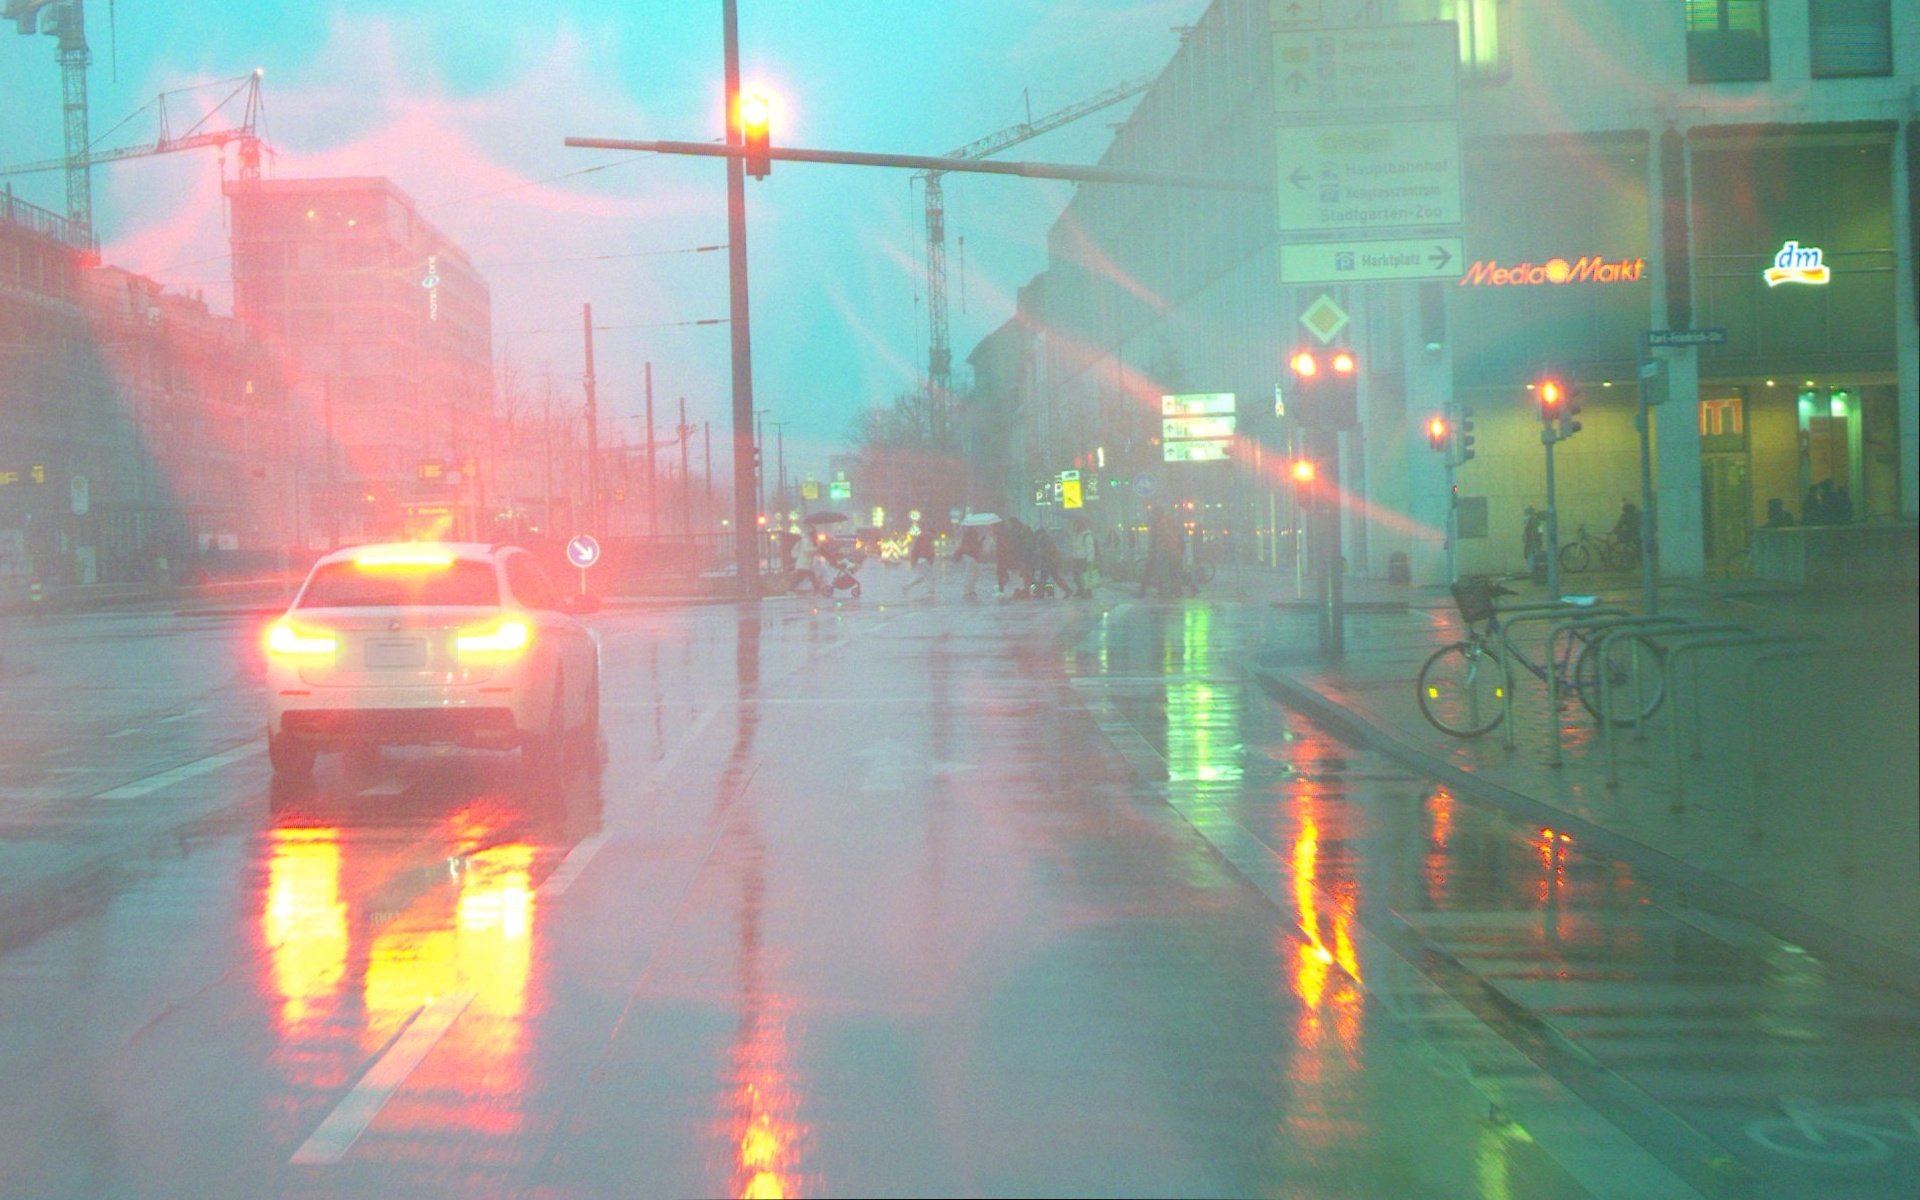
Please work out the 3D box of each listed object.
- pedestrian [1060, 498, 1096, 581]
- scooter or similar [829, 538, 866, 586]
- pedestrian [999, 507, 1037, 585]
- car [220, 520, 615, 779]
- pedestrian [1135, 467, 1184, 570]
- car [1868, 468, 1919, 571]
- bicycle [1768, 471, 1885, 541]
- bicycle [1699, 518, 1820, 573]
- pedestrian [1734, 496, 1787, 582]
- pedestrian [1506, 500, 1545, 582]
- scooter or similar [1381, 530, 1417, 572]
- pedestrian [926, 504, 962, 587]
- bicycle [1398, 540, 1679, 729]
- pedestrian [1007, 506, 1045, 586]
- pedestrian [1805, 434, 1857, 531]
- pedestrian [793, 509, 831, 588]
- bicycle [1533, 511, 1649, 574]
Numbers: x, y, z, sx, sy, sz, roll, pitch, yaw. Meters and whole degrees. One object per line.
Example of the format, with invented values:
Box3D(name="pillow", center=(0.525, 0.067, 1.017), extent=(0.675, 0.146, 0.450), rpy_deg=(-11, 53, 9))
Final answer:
Box3D(name="pedestrian", center=(2.514, -1.294, 73.231), extent=(0.619, 1.740, 0.613), rpy_deg=(-2, 1, -4))
Box3D(name="scooter or similar", center=(-2.424, -0.824, 73.966), extent=(0.741, 0.990, 0.400), rpy_deg=(-2, 1, -4))
Box3D(name="pedestrian", center=(1.220, -1.138, 72.253), extent=(0.706, 1.613, 0.680), rpy_deg=(-2, 1, 2))
Box3D(name="car", center=(-3.570, 0.247, 23.530), extent=(1.909, 1.515, 4.924), rpy_deg=(-2, 1, 0))
Box3D(name="pedestrian", center=(4.107, -1.681, 70.822), extent=(0.686, 2.080, 0.613), rpy_deg=(-3, 1, -39))
Box3D(name="car", center=(18.328, -1.493, 60.370), extent=(4.303, 1.755, 1.707), rpy_deg=(-2, 1, 4))
Box3D(name="bicycle", center=(14.576, -1.579, 57.821), extent=(1.846, 1.089, 0.617), rpy_deg=(-2, 1, 16))
Box3D(name="bicycle", center=(14.919, -1.015, 64.191), extent=(2.128, 0.988, 0.541), rpy_deg=(-1, 1, 1))
Box3D(name="pedestrian", center=(14.947, -1.145, 64.206), extent=(0.814, 1.564, 0.536), rpy_deg=(-2, 1, 2))
Box3D(name="pedestrian", center=(12.339, -1.297, 75.021), extent=(0.703, 1.754, 0.652), rpy_deg=(-2, 1, 1))
Box3D(name="scooter or similar", center=(9.917, -1.110, 77.615), extent=(0.741, 0.913, 0.400), rpy_deg=(-2, 1, 3))
Box3D(name="pedestrian", center=(-0.350, -1.177, 74.381), extent=(0.702, 1.754, 0.667), rpy_deg=(-2, 1, 1))
Box3D(name="bicycle", center=(3.901, 0.225, 23.222), extent=(1.750, 1.144, 0.436), rpy_deg=(-4, 1, -3))
Box3D(name="pedestrian", center=(1.358, -1.108, 70.861), extent=(0.706, 1.613, 0.613), rpy_deg=(-2, 1, -1))
Box3D(name="pedestrian", center=(14.636, -1.971, 57.783), extent=(0.781, 1.590, 0.612), rpy_deg=(-2, 1, 16))
Box3D(name="pedestrian", center=(-3.180, -1.103, 73.917), extent=(0.741, 1.661, 0.400), rpy_deg=(-2, 1, -4))
Box3D(name="bicycle", center=(14.016, -1.273, 76.367), extent=(2.425, 1.325, 0.635), rpy_deg=(-2, 1, -4))
